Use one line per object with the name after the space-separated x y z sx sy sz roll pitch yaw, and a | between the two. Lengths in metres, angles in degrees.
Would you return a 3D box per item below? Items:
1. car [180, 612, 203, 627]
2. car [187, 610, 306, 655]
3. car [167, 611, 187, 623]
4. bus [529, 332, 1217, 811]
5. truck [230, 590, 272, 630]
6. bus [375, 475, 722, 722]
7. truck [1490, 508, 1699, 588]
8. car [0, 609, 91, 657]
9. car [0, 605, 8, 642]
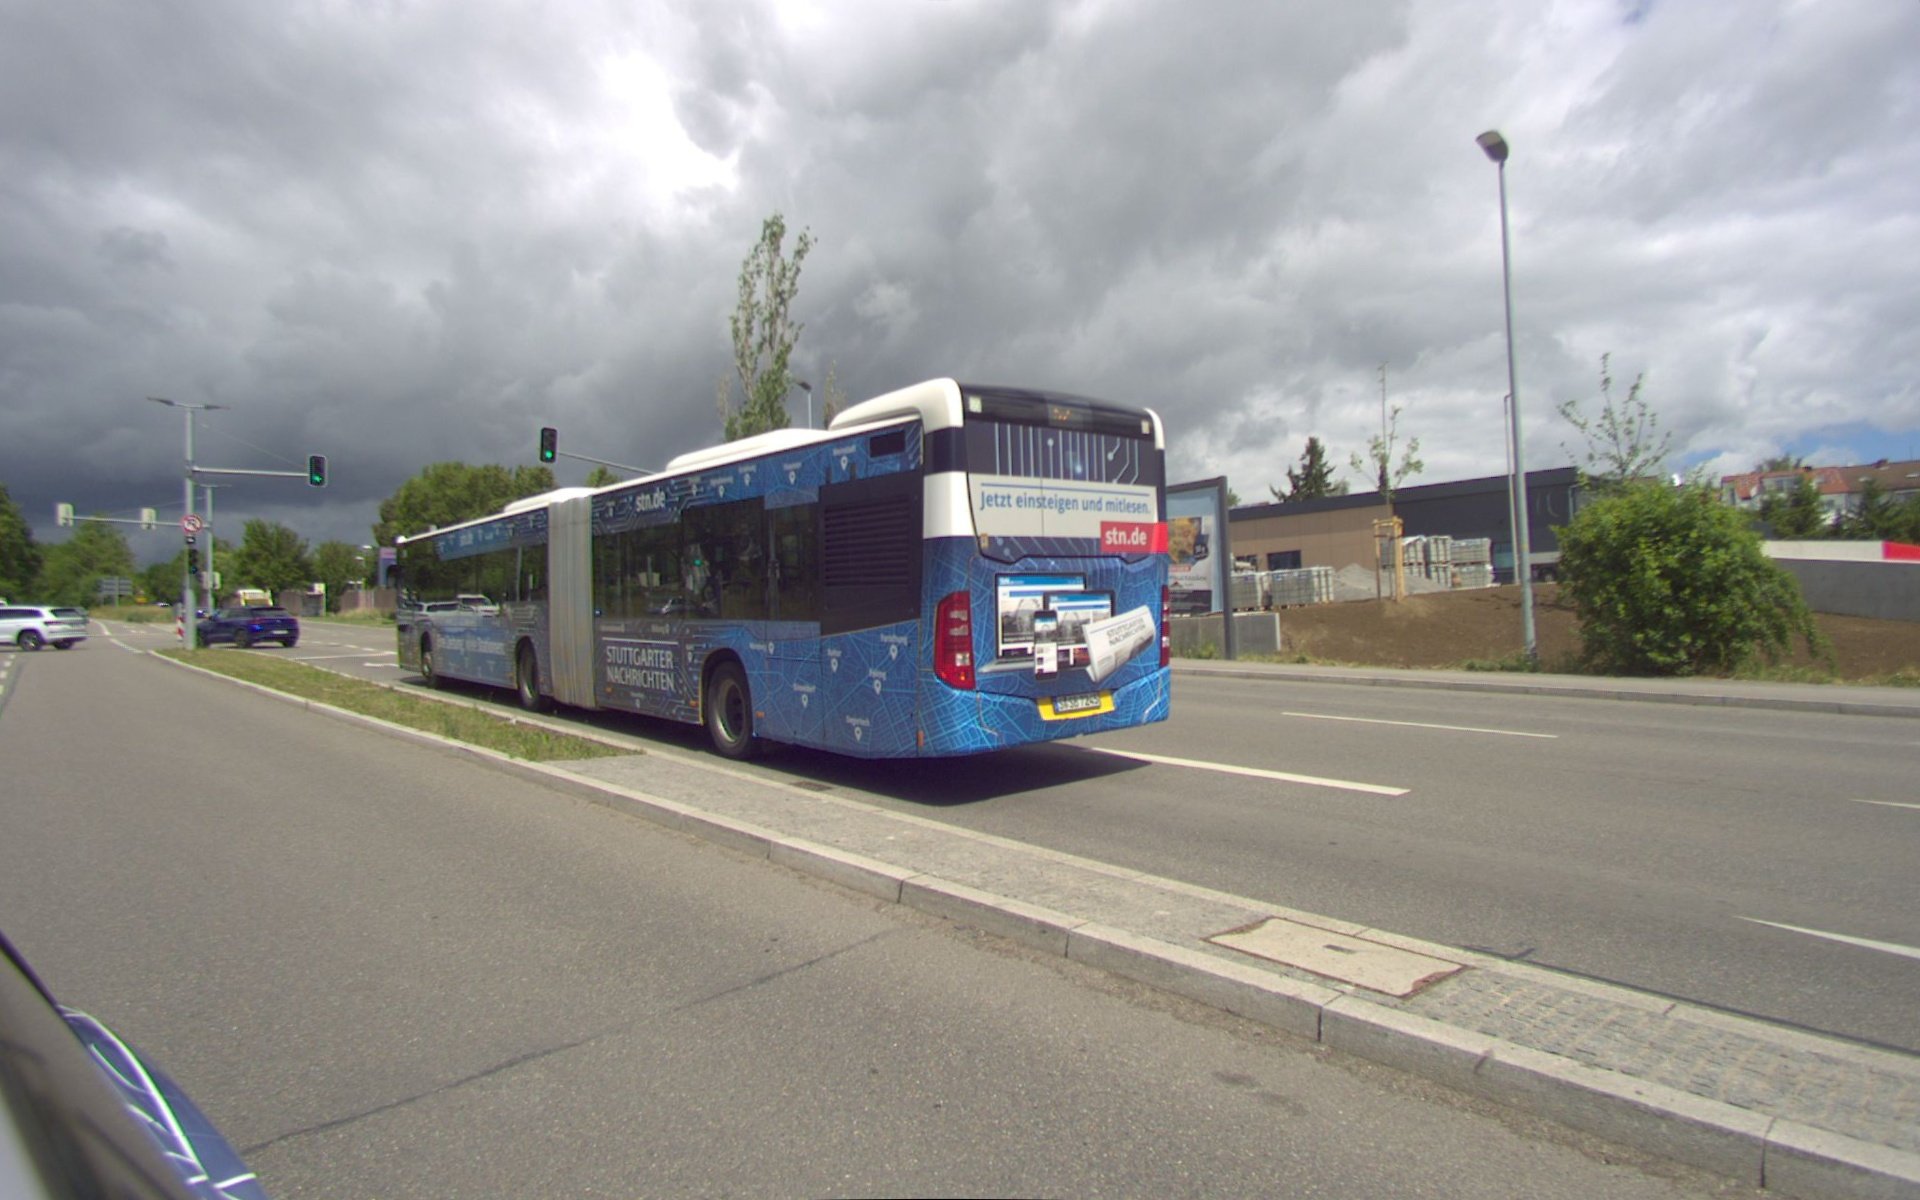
-83.818 2.155 110.382 1.671 1.411 4.004 0 -4 -42 | car
-26.017 1.189 36.881 4.377 1.522 1.793 -2 -1 28 | car
-98.278 2.126 126.987 1.671 1.411 4.005 0 -1 -42 | car
-1.809 -0.094 11.051 2.780 3.188 8.921 -1 -1 -40 | bus
-74.359 1.092 106.079 2.803 3.606 6.975 0 -5 -42 | truck
-7.968 0.015 18.354 2.780 3.310 10.136 -1 0 -40 | bus
24.110 -1.876 38.902 1.965 2.162 6.600 -2 -4 -26 | truck
-35.029 1.230 36.983 4.826 1.671 1.735 -2 -1 -5 | car
-52.098 1.250 53.937 1.882 1.952 4.975 -1 0 -44 | car
